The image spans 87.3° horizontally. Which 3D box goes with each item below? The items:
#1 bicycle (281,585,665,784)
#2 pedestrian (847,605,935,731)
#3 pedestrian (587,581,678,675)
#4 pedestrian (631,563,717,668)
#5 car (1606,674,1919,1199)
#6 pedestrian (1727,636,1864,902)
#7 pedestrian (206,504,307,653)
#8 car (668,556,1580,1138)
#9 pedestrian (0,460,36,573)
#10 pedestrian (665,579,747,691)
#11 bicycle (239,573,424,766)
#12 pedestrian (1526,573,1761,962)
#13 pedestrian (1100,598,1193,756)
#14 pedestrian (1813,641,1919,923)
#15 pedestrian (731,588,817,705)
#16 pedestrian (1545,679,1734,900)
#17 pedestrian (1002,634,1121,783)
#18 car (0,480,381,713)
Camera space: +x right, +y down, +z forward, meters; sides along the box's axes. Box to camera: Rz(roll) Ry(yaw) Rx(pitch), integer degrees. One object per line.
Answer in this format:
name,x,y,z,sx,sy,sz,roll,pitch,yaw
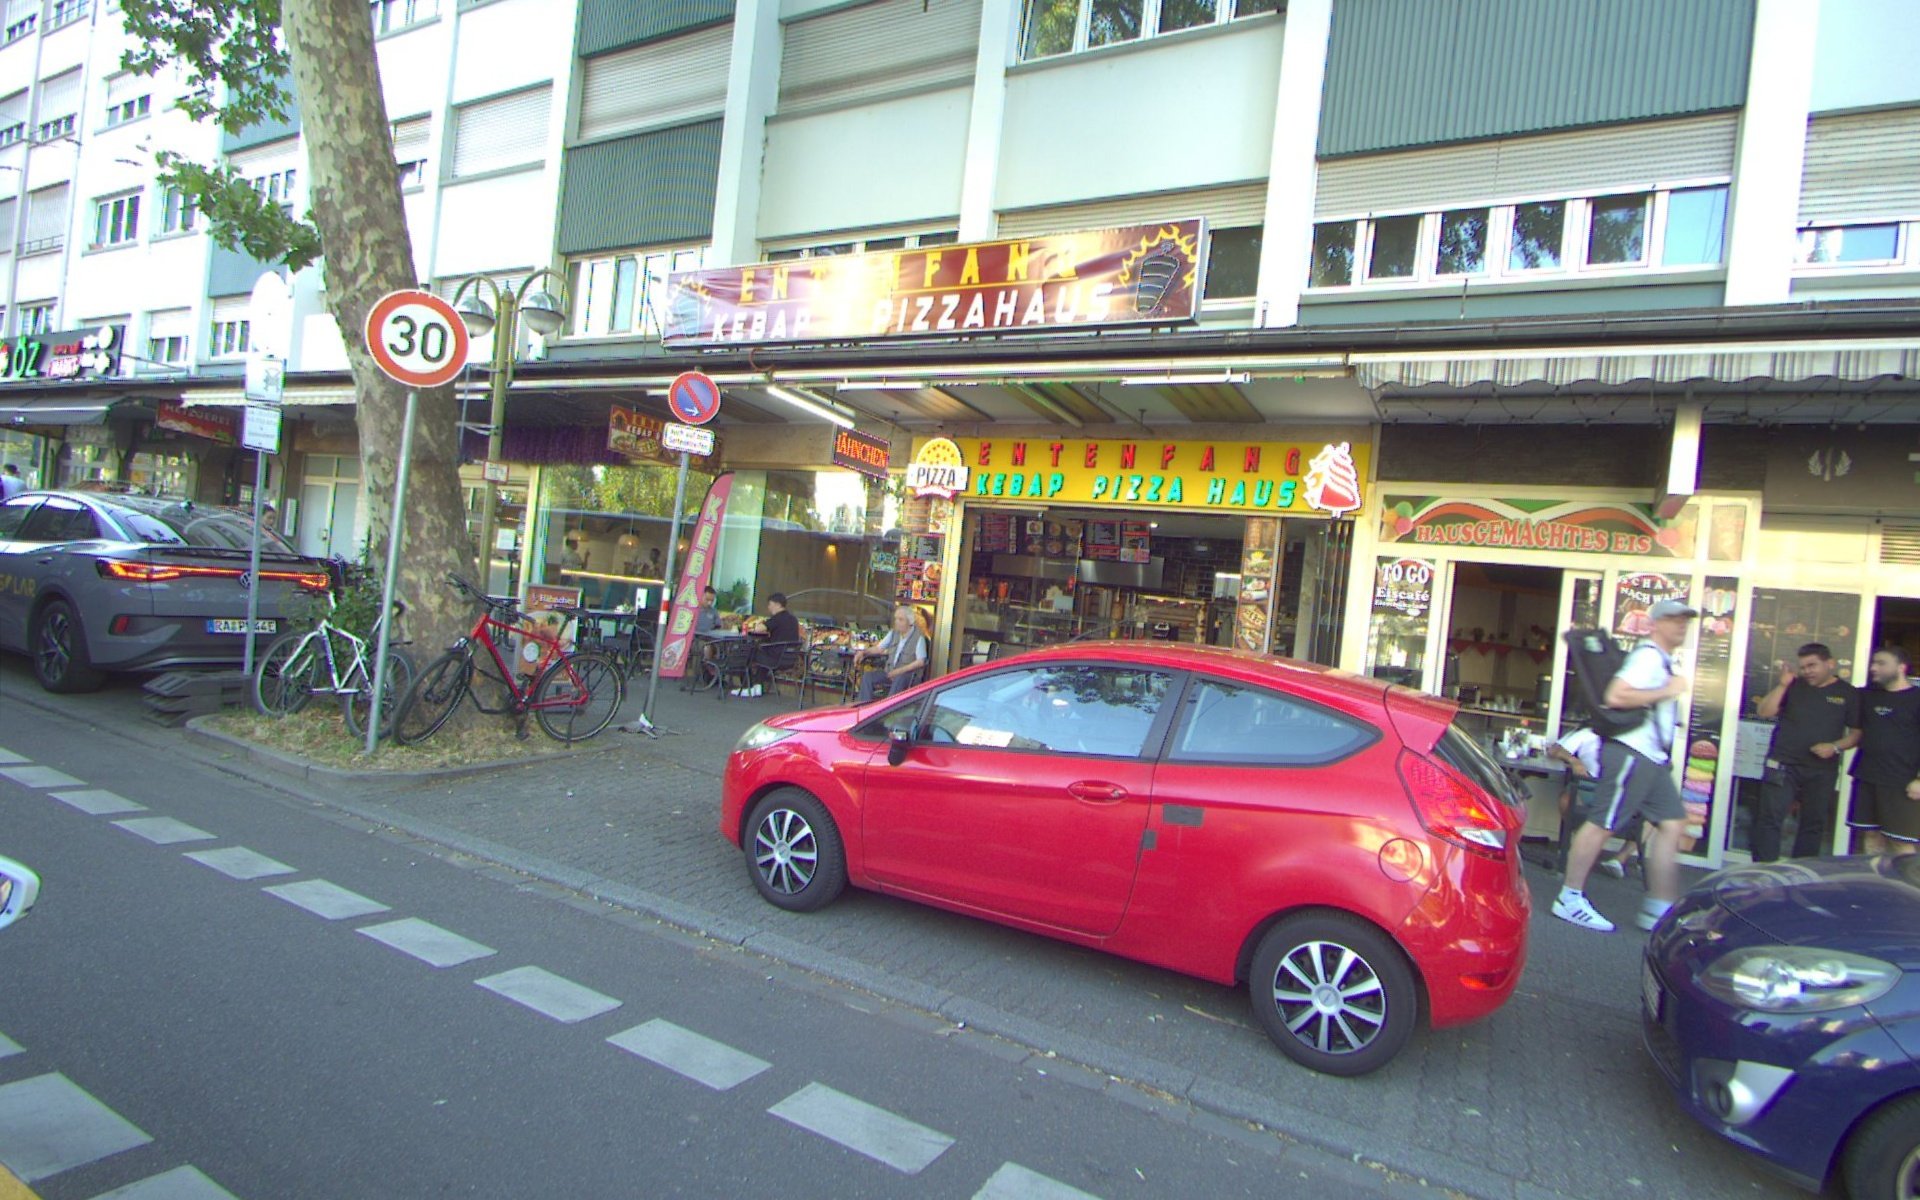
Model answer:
bicycle,-3.320,0.523,7.101,0.547,1.171,2.377,7,4,44
pedestrian,-0.733,0.713,10.774,0.550,1.252,0.689,7,2,29
pedestrian,-4.293,0.362,13.239,0.940,1.094,0.639,7,0,-9
pedestrian,-4.086,0.218,14.429,0.958,1.350,0.830,6,0,-9
car,4.097,1.225,2.858,3.549,1.488,1.767,6,3,29
pedestrian,5.998,1.182,7.250,0.547,1.802,0.395,6,2,29
pedestrian,-8.416,-0.254,12.040,0.783,1.667,0.583,7,1,30
car,0.662,0.783,4.913,3.757,1.617,1.783,6,3,28
pedestrian,-17.923,-1.576,18.765,0.773,2.038,0.686,7,1,32
pedestrian,-3.086,0.423,12.229,0.680,1.261,0.557,7,2,38
bicycle,-4.542,0.469,7.239,1.421,1.169,0.553,6,0,36
pedestrian,3.873,0.897,5.780,0.875,1.983,0.647,7,1,31
pedestrian,1.998,0.814,10.733,0.589,1.566,0.700,7,0,34
pedestrian,6.360,1.213,6.889,0.391,1.805,0.552,4,2,-29
pedestrian,-2.172,0.533,11.761,0.679,1.261,0.558,7,2,33
pedestrian,4.915,1.317,7.375,0.937,1.352,1.069,7,0,30
pedestrian,0.948,0.975,9.338,0.798,1.225,0.654,7,2,28
car,-7.674,-0.164,9.249,4.292,1.603,1.996,7,2,27
